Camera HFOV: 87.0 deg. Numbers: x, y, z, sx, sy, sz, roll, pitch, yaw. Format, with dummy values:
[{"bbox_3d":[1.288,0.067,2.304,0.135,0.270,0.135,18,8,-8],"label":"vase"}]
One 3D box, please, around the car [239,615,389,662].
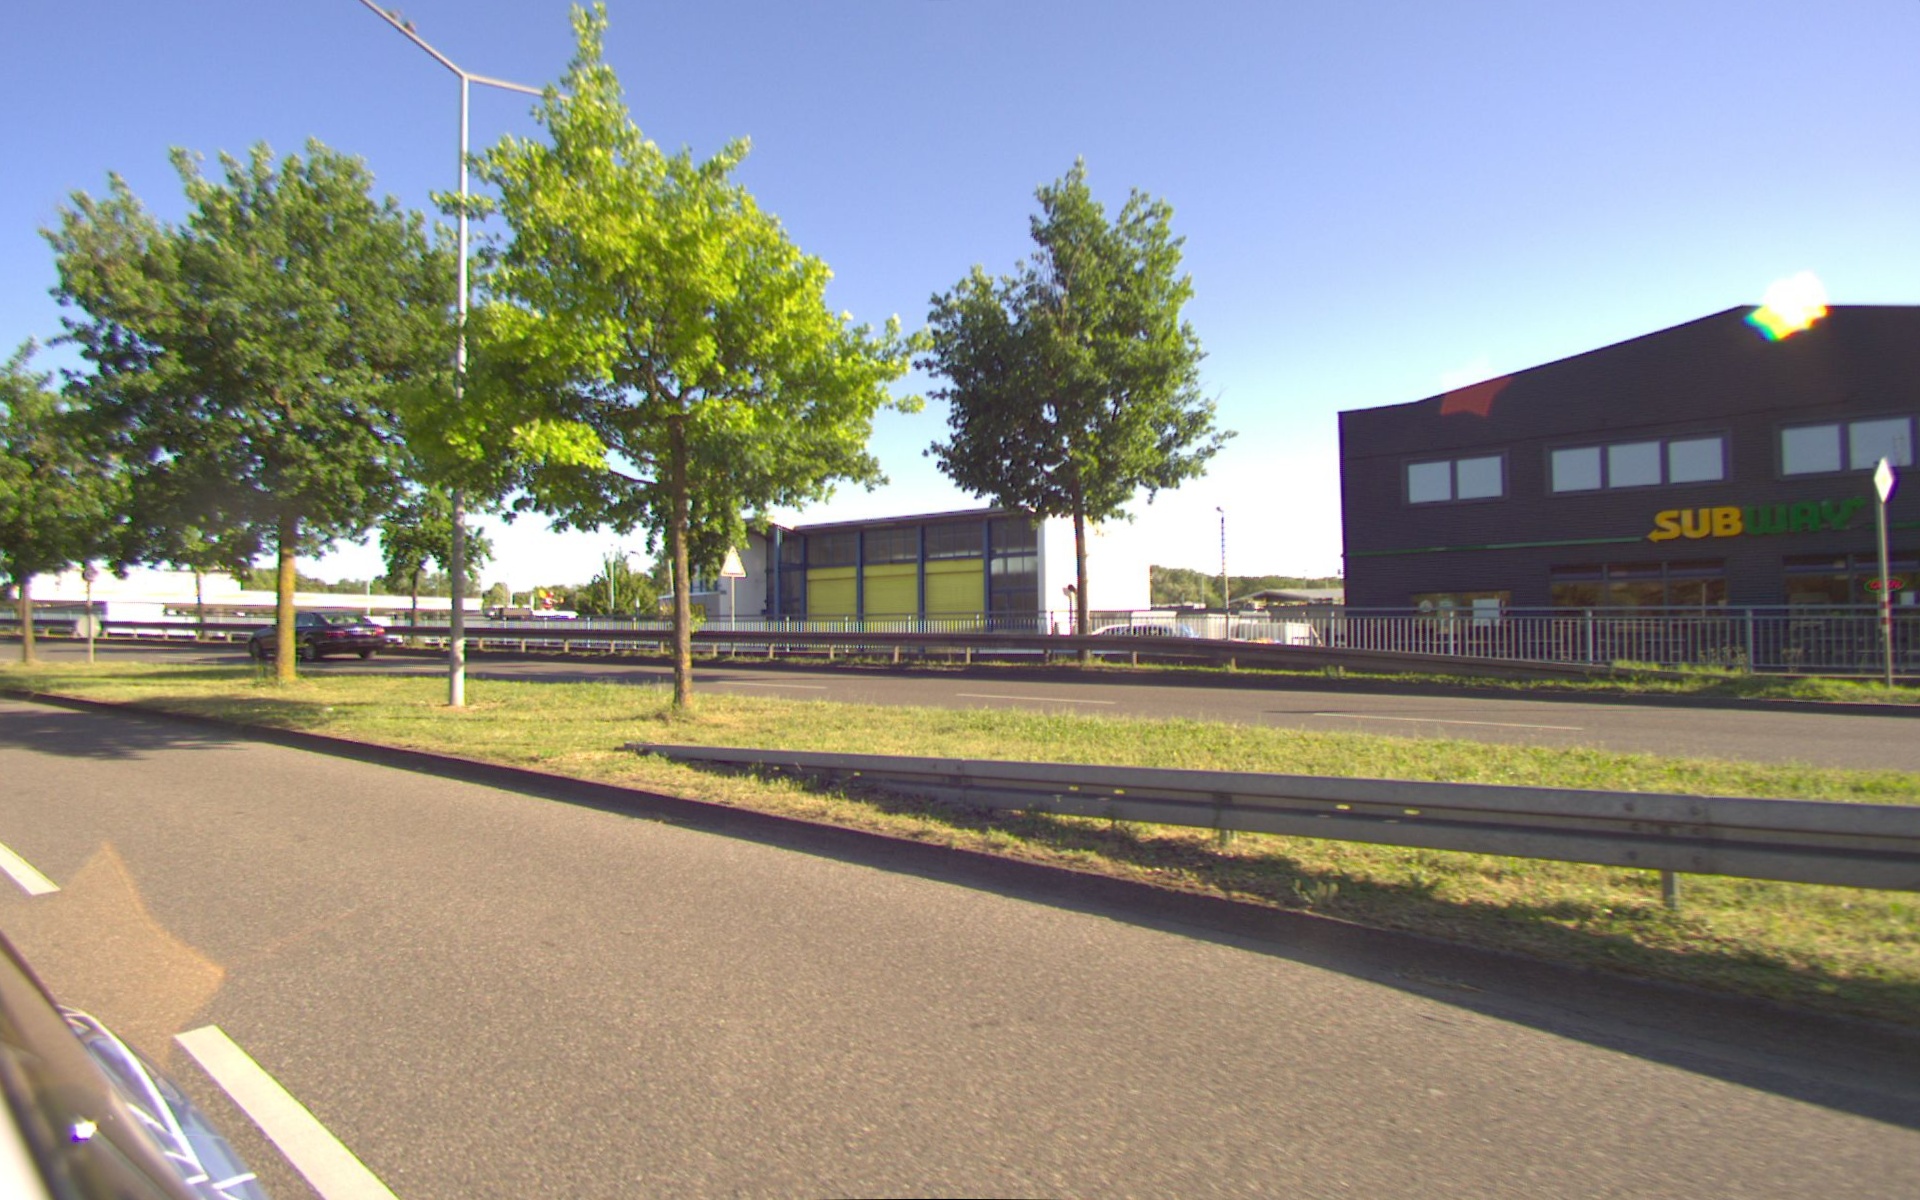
[{"bbox_3d":[-19.448,1.125,30.433,4.593,1.320,1.789,-1,-1,28],"label":"car"}]
